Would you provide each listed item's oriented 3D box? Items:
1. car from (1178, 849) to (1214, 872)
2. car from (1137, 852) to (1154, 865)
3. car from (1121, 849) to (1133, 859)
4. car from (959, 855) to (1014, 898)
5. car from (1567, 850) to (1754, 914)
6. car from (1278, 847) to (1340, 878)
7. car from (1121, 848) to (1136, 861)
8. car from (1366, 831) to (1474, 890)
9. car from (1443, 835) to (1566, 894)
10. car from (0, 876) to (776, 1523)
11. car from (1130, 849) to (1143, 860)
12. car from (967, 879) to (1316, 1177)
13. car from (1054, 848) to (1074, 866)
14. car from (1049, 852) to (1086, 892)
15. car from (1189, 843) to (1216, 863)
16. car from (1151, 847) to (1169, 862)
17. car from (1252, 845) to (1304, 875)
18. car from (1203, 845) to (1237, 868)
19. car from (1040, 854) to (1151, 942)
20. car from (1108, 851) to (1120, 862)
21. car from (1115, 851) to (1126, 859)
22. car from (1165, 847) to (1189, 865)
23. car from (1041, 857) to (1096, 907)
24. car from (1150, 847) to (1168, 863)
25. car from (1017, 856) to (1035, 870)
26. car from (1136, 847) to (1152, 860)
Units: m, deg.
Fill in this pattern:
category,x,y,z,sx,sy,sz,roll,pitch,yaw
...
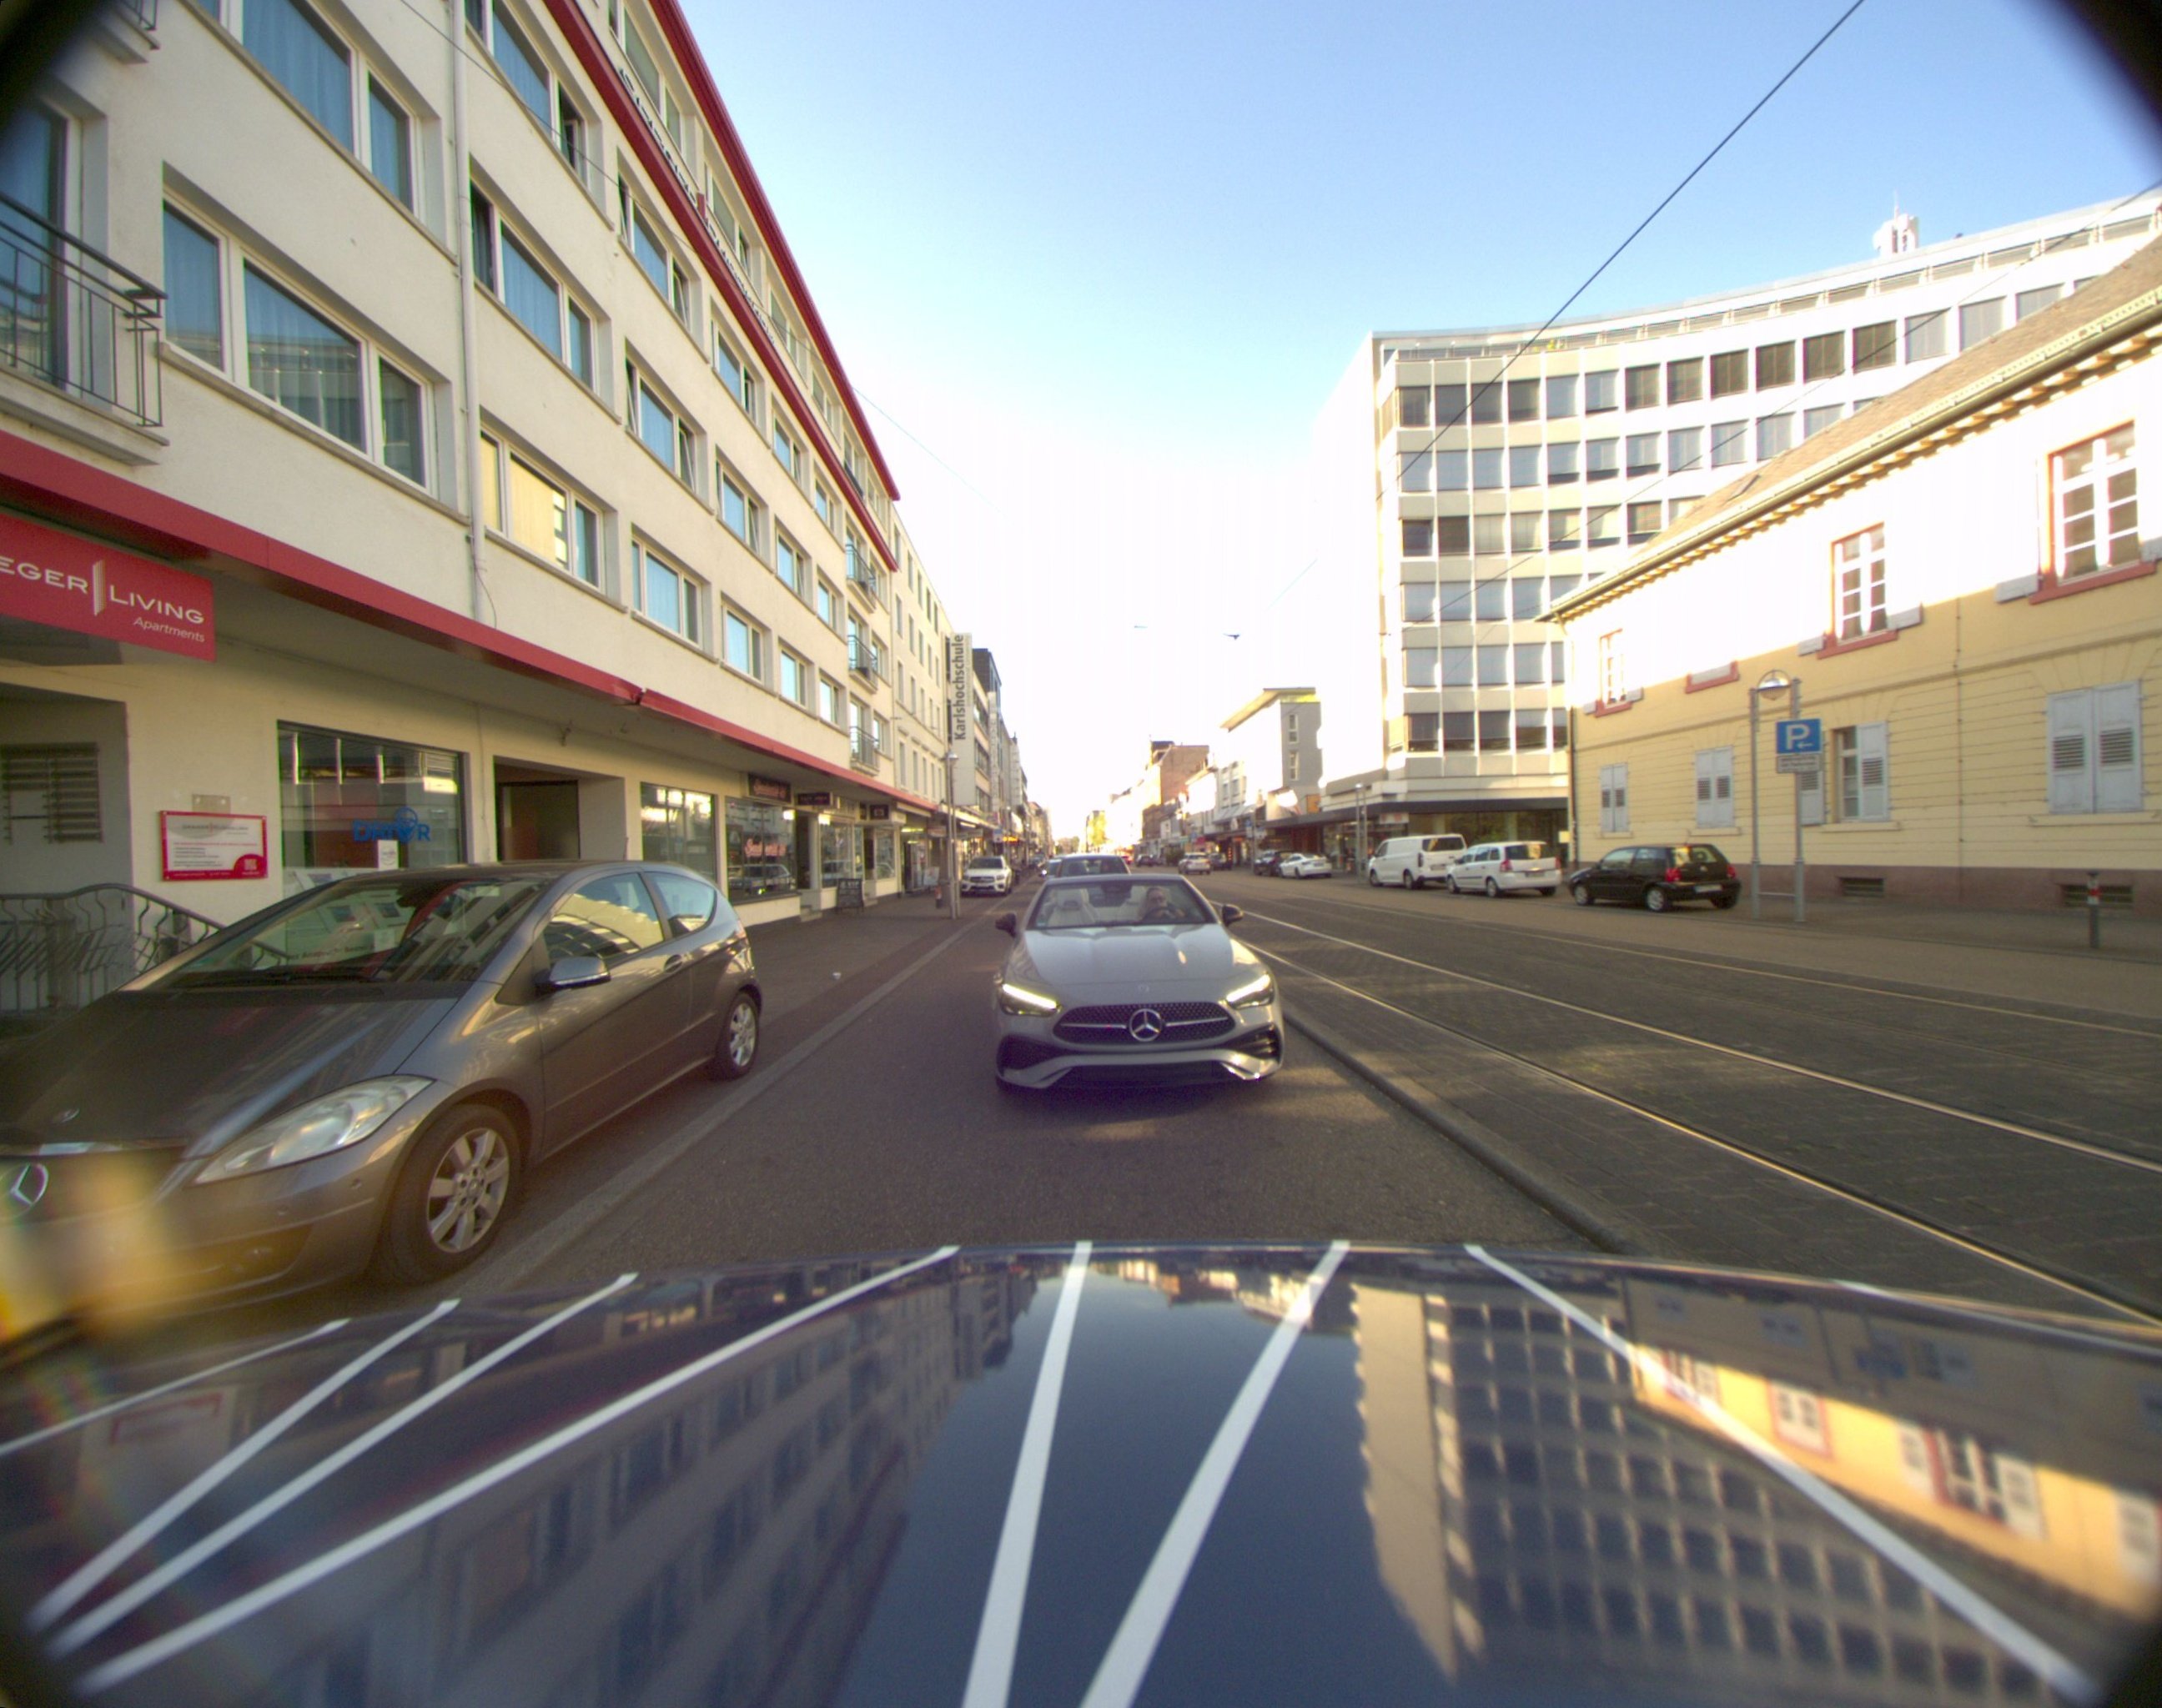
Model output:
category,x,y,z,sx,sy,sz,roll,pitch,yaw
car,8.295,0.440,55.056,1.760,1.587,3.999,-1,0,-2
car,7.837,0.518,92.252,1.964,1.499,4.000,-2,1,4
car,9.531,-0.092,157.309,1.999,2.002,3.999,-2,0,-2
car,-3.856,0.886,31.717,1.999,1.620,3.998,-1,0,-4
car,12.873,0.562,17.132,1.688,1.246,3.212,-2,1,-1
car,12.608,0.419,42.236,1.999,1.521,4.373,-2,1,-1
car,7.332,0.003,118.414,1.914,1.883,3.855,-2,1,-2
car,12.672,0.230,28.787,2.040,2.002,4.621,-1,0,1
car,12.737,0.268,23.133,1.641,1.600,4.005,-2,1,3
car,-3.215,0.969,3.933,1.683,1.537,3.999,-2,0,-1
car,10.028,0.093,136.843,1.999,2.002,3.999,-2,0,-1
car,0.203,1.009,6.164,1.884,1.375,3.998,-2,1,-4
car,-1.856,0.308,82.018,1.999,1.793,3.999,-2,1,-1
car,-0.635,0.793,34.970,1.573,1.670,3.688,-2,1,-1
car,11.814,-0.082,74.190,1.789,1.870,3.999,-2,0,-2
car,11.544,0.056,111.380,1.999,2.002,3.998,-2,1,-2
car,12.319,0.360,47.683,1.999,1.694,4.107,-3,1,-2
car,11.906,0.164,65.338,1.999,1.849,3.998,-2,1,-2
car,0.158,0.811,16.038,1.927,1.533,3.998,-2,0,-4
car,6.586,0.424,150.673,1.999,2.002,3.998,-2,1,-2
car,9.116,0.279,176.699,2.148,1.850,3.998,-2,1,-2
car,11.429,0.178,90.431,2.200,2.030,3.999,-1,0,-1
car,-0.443,0.898,25.784,1.648,1.506,3.844,-2,0,-2
car,10.305,0.173,100.856,1.998,2.002,4.000,-2,0,1
car,-6.177,0.958,85.410,1.714,1.430,3.756,-2,1,-1
car,10.092,-0.026,122.235,1.999,2.002,5.320,-2,0,-2
